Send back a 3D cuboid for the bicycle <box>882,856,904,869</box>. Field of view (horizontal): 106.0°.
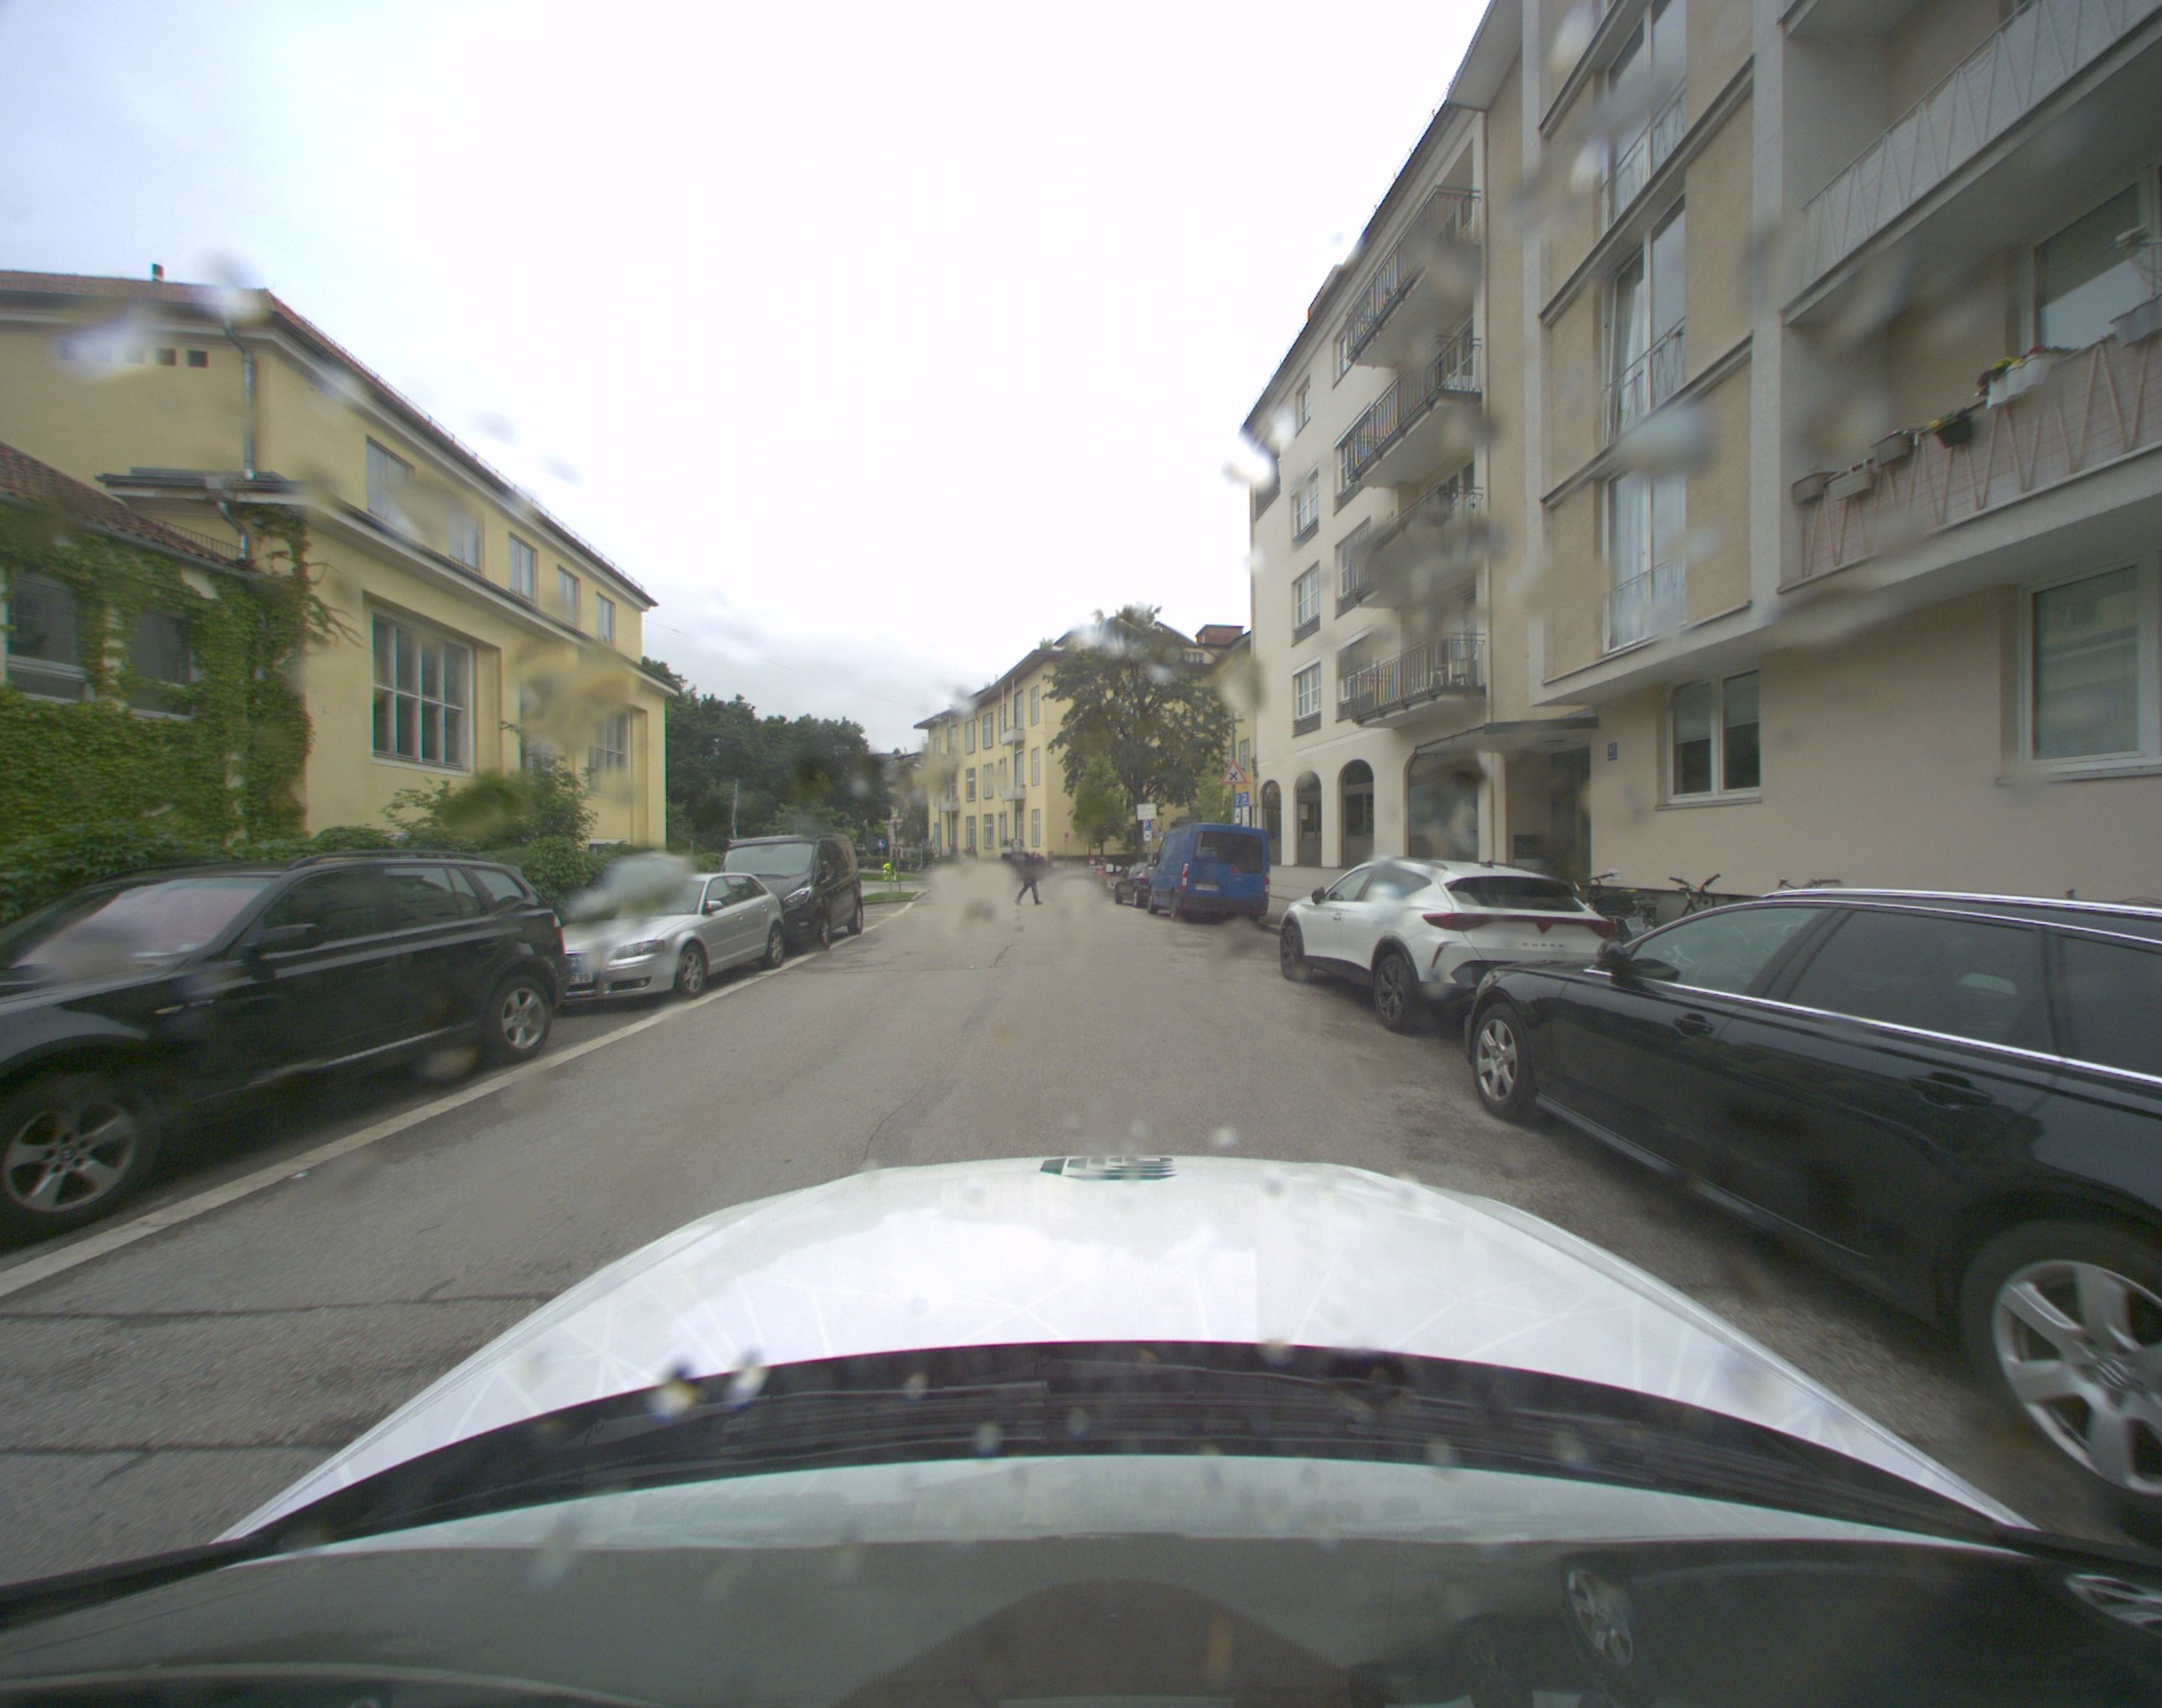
[{"bbox_3d":[-19.840,0.919,85.974,2.159,1.305,0.728,-1,0,-25],"label":"bicycle"}]

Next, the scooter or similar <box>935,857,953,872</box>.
[{"bbox_3d":[-12.418,0.969,73.756,0.726,1.305,2.165,-1,0,16],"label":"scooter or similar"}]

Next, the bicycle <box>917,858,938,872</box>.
[{"bbox_3d":[-14.576,1.023,77.358,0.725,1.305,2.169,-1,0,28],"label":"bicycle"}]

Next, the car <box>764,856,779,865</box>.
[{"bbox_3d":[-52.146,1.107,137.244,2.003,1.606,3.967,-1,0,-25],"label":"car"}]

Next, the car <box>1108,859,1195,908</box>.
[{"bbox_3d":[2.206,0.908,26.570,1.677,1.389,4.289,3,-1,-11],"label":"car"}]

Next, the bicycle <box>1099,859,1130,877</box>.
[{"bbox_3d":[2.324,0.988,56.749,2.052,1.201,0.598,0,0,15],"label":"bicycle"}]

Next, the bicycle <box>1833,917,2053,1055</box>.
[{"bbox_3d":[7.003,1.027,6.705,0.376,0.905,1.392,0,0,2],"label":"bicycle"}]

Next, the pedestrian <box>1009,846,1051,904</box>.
[{"bbox_3d":[-1.628,0.680,26.124,0.923,1.801,0.962,-3,-3,45],"label":"pedestrian"}]

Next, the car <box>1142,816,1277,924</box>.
[{"bbox_3d":[3.015,0.396,20.411,2.075,2.234,5.235,4,-1,-5],"label":"car"}]

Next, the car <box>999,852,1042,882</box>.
[{"bbox_3d":[-4.280,0.879,57.062,1.768,1.874,4.349,4,-1,-20],"label":"car"}]

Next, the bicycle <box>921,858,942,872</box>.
[{"bbox_3d":[-14.064,1.029,76.568,0.725,1.305,2.169,-1,0,28],"label":"bicycle"}]

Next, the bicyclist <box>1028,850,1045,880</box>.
[{"bbox_3d":[-2.475,0.610,45.444,0.862,1.607,0.944,0,-1,-8],"label":"bicyclist"}]

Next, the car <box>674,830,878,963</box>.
[{"bbox_3d":[-5.432,0.669,15.410,2.069,1.964,5.342,-3,0,-4],"label":"car"}]

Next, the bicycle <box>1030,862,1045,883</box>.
[{"bbox_3d":[-2.452,1.027,45.326,0.669,1.159,1.998,0,-1,-8],"label":"bicycle"}]

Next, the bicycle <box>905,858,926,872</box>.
[{"bbox_3d":[-16.029,1.069,78.814,0.725,1.305,2.169,-1,0,28],"label":"bicycle"}]

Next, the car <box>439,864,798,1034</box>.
[{"bbox_3d":[-5.160,0.929,9.969,1.689,1.393,4.500,-5,0,0],"label":"car"}]

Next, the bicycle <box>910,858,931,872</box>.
[{"bbox_3d":[-15.404,1.092,78.202,0.725,1.305,2.169,-1,0,28],"label":"bicycle"}]

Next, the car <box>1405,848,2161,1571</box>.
[{"bbox_3d":[3.286,0.784,3.386,1.873,1.522,5.165,3,0,1],"label":"car"}]

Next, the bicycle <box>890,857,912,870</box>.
[{"bbox_3d":[-18.628,0.956,84.231,2.159,1.305,0.728,-1,0,-25],"label":"bicycle"}]

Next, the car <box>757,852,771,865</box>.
[{"bbox_3d":[-56.532,0.819,145.250,2.003,2.159,3.967,-1,0,-25],"label":"car"}]

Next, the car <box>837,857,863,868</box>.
[{"bbox_3d":[-27.929,1.031,98.323,2.007,1.372,3.959,-1,0,-32],"label":"car"}]

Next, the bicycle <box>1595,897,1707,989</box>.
[{"bbox_3d":[6.571,0.991,9.455,0.376,0.905,1.392,0,0,2],"label":"bicycle"}]

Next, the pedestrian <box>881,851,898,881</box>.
[{"bbox_3d":[-13.145,0.806,55.950,0.929,2.013,0.955,-1,0,-3],"label":"pedestrian"}]

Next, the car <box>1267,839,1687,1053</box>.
[{"bbox_3d":[3.502,0.685,8.384,1.782,1.533,4.641,2,0,-4],"label":"car"}]

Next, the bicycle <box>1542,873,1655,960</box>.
[{"bbox_3d":[7.516,0.865,11.930,0.454,1.110,1.853,0,0,-1],"label":"bicycle"}]

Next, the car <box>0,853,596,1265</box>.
[{"bbox_3d":[-5.198,0.869,4.944,1.692,1.643,4.490,-3,0,0],"label":"car"}]

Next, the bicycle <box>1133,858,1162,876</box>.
[{"bbox_3d":[4.618,0.920,56.696,1.918,1.201,0.594,0,0,-4],"label":"bicycle"}]

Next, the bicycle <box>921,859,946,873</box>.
[{"bbox_3d":[-13.479,1.092,74.526,0.725,1.305,2.169,-1,0,45],"label":"bicycle"}]

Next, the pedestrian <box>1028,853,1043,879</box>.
[{"bbox_3d":[-3.208,0.844,57.258,0.877,1.823,0.793,0,0,-19],"label":"pedestrian"}]

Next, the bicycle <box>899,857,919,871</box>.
[{"bbox_3d":[-16.950,0.964,80.444,0.725,1.305,2.169,-1,0,28],"label":"bicycle"}]

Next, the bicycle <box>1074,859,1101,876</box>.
[{"bbox_3d":[0.466,0.937,57.958,1.903,1.201,0.599,0,0,38],"label":"bicycle"}]

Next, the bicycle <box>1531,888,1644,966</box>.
[{"bbox_3d":[6.981,0.972,11.319,0.454,0.923,1.735,0,0,-1],"label":"bicycle"}]

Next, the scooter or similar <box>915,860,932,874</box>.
[{"bbox_3d":[-15.036,1.208,77.678,0.725,1.305,1.740,-1,0,25],"label":"scooter or similar"}]

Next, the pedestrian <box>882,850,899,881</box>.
[{"bbox_3d":[-12.721,0.777,54.534,0.929,2.013,0.955,-1,0,-3],"label":"pedestrian"}]

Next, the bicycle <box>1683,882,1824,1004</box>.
[{"bbox_3d":[7.006,0.885,8.556,0.376,1.119,1.392,0,0,2],"label":"bicycle"}]
